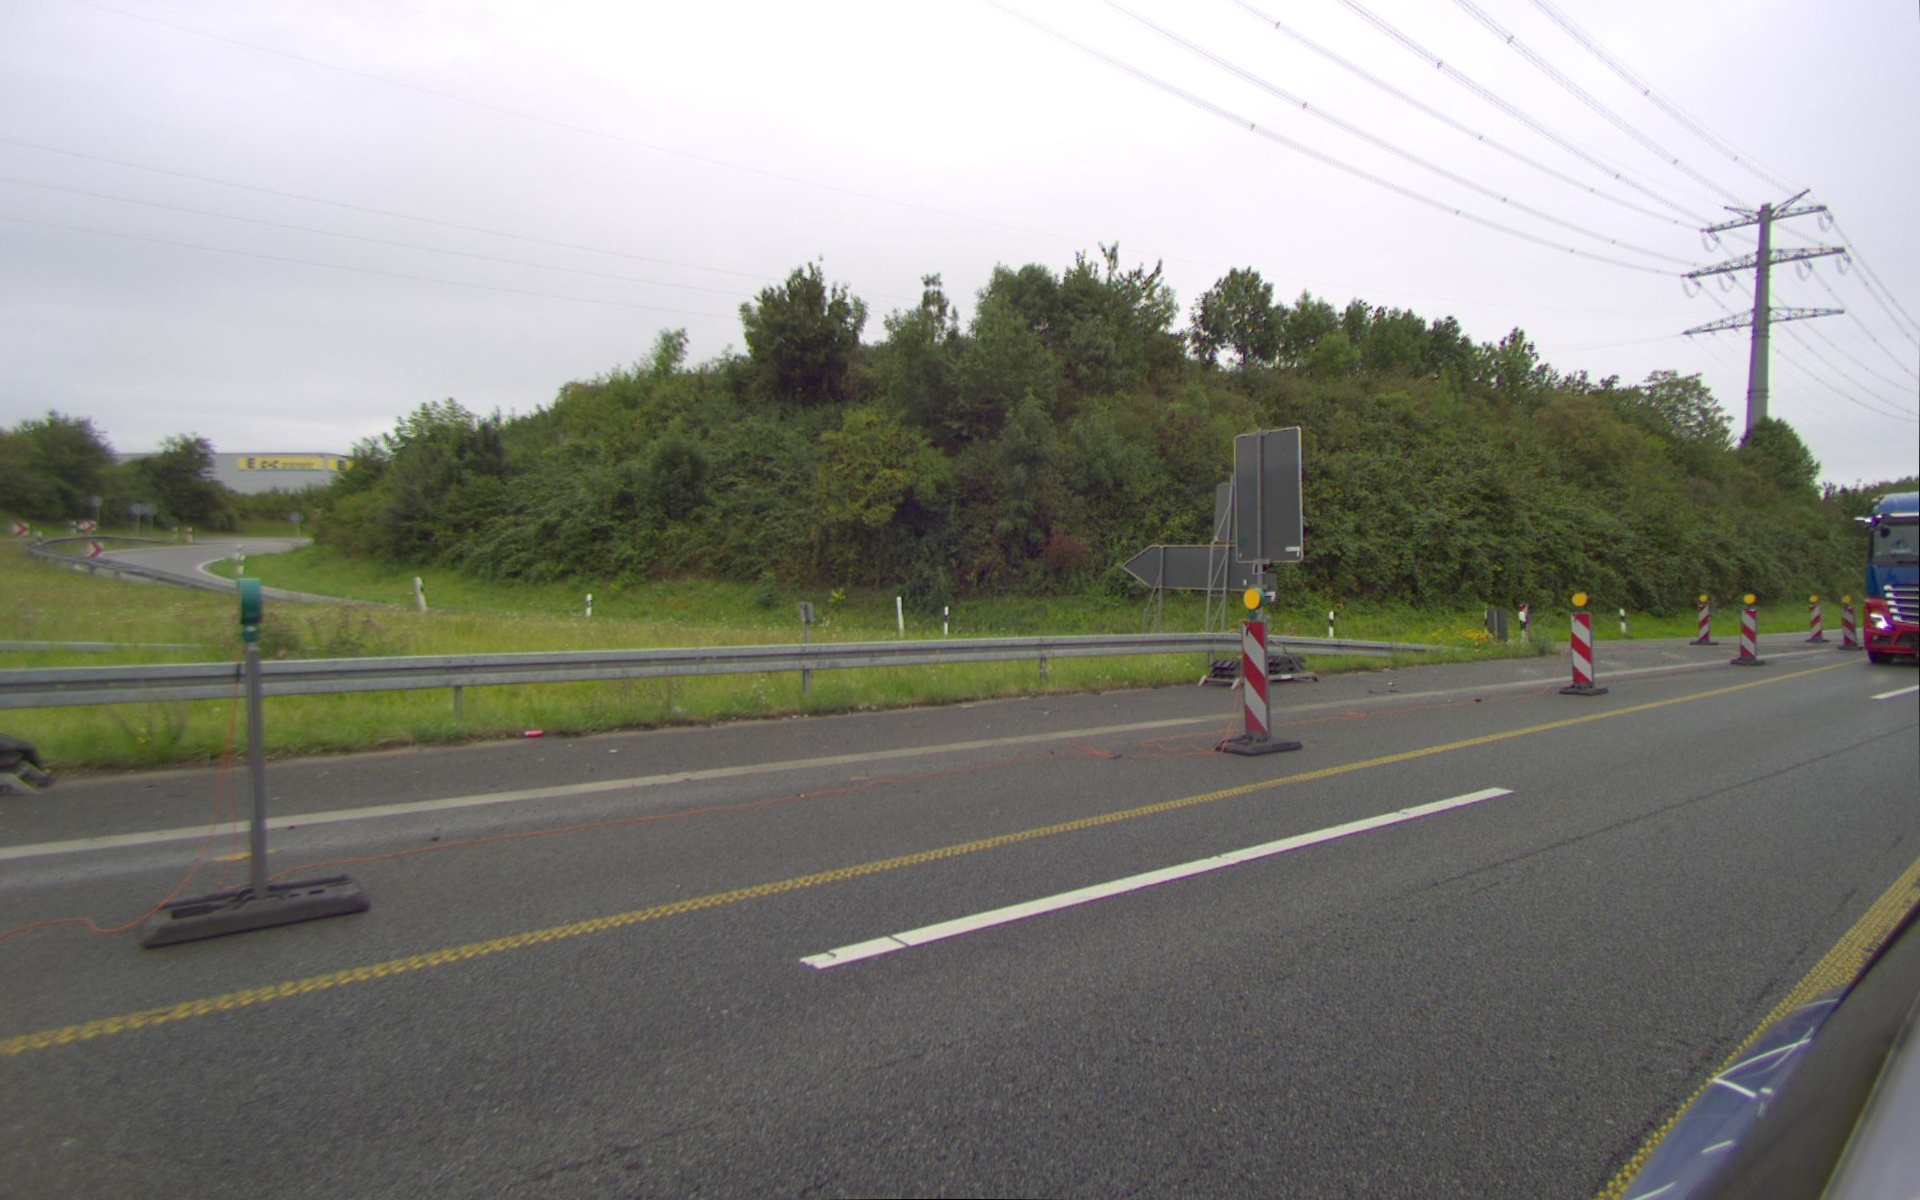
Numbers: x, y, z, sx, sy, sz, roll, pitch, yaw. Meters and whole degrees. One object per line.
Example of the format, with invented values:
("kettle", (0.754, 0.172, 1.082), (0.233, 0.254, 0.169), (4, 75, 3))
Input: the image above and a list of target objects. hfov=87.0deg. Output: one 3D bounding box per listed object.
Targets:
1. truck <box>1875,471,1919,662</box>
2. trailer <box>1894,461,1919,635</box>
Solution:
("truck", (21.898, -0.728, 21.849), (3.928, 3.996, 2.554), (-1, 0, -38))
("trailer", (26.714, -1.257, 25.741), (12.128, 3.882, 2.525), (-1, 1, -39))
